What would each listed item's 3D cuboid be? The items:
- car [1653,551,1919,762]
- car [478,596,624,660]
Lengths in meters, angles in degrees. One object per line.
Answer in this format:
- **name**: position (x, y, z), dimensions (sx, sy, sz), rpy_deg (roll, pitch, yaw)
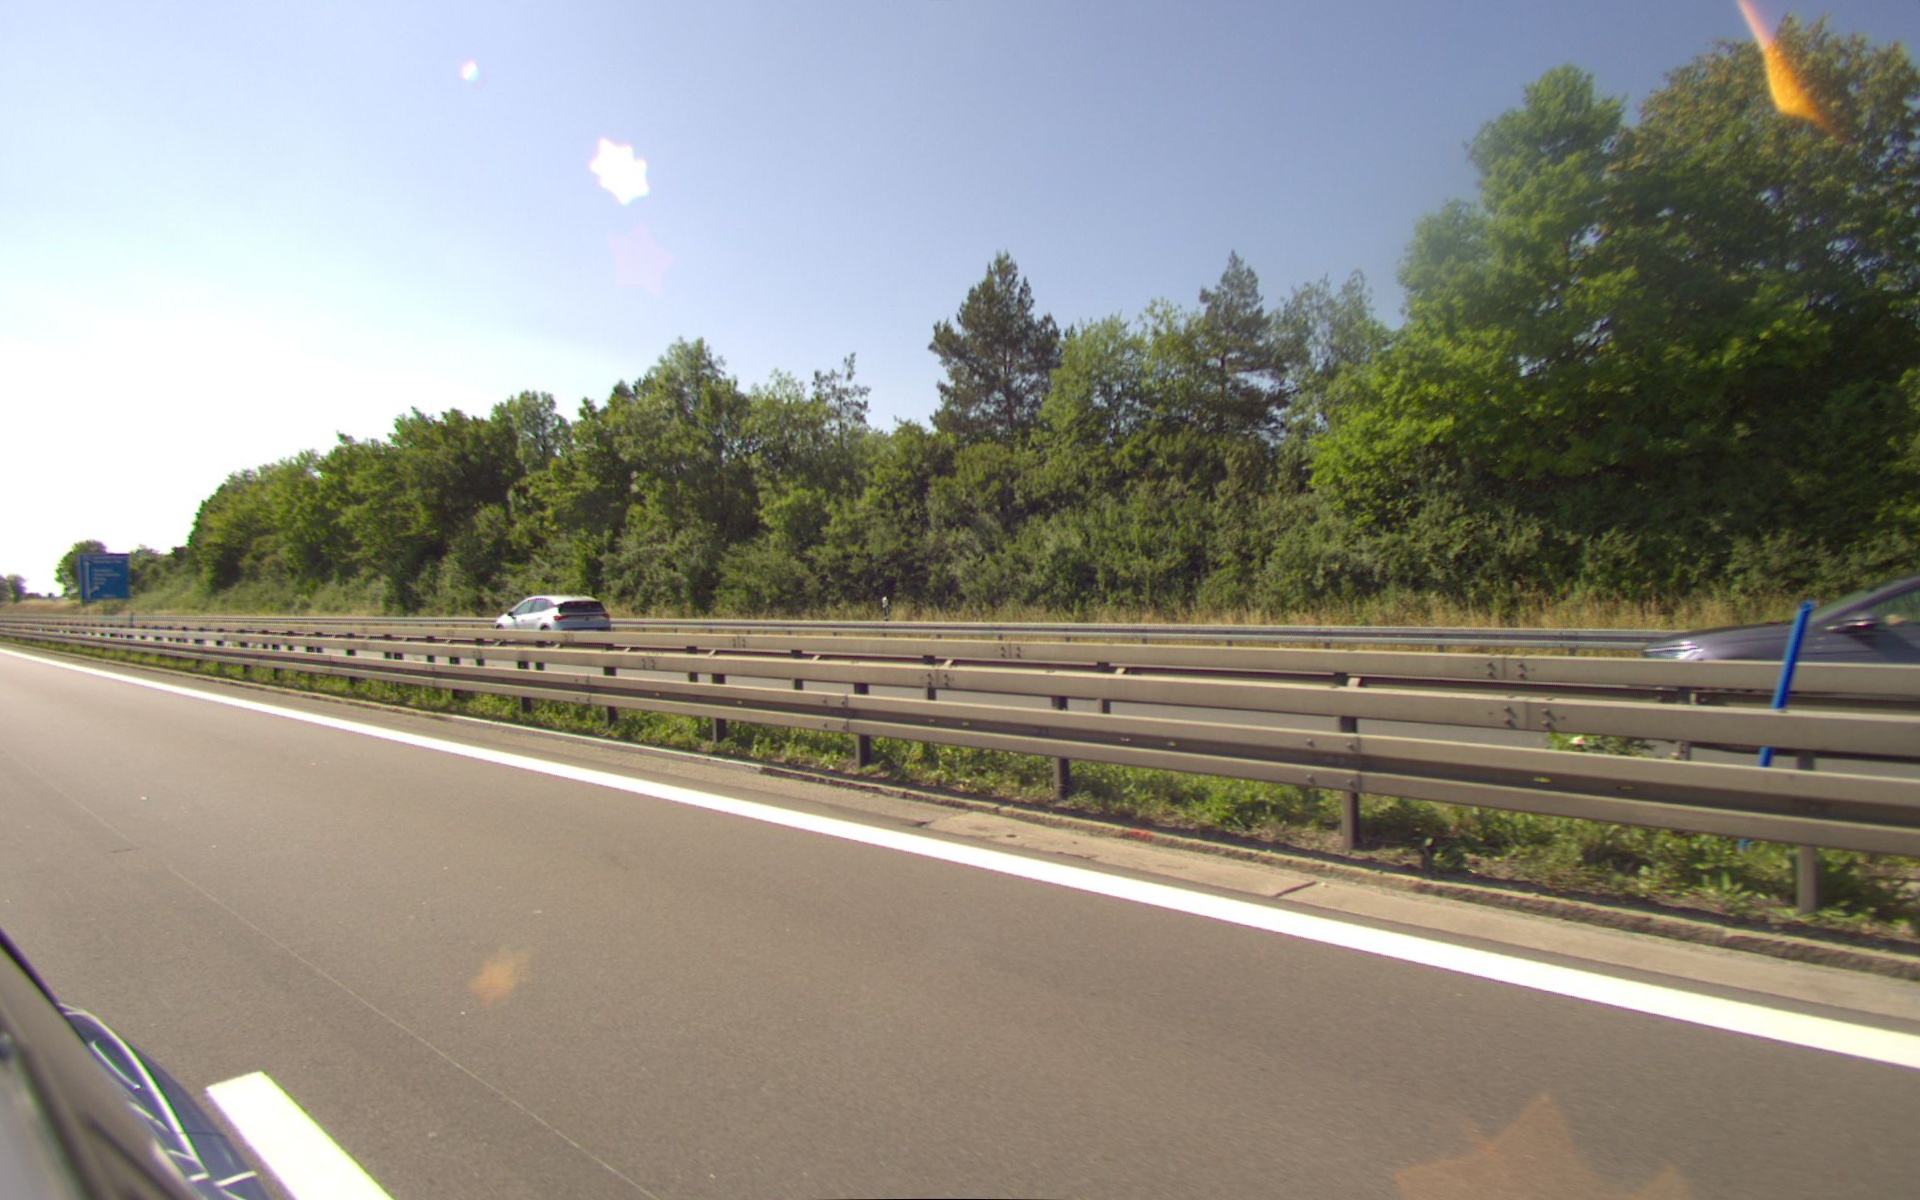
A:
- **car**: position (7.906, 0.384, 7.404), dimensions (4.536, 1.504, 1.633), rpy_deg (-1, 0, 40)
- **car**: position (-11.647, 0.755, 28.666), dimensions (4.635, 1.624, 1.973), rpy_deg (-1, 0, 42)
